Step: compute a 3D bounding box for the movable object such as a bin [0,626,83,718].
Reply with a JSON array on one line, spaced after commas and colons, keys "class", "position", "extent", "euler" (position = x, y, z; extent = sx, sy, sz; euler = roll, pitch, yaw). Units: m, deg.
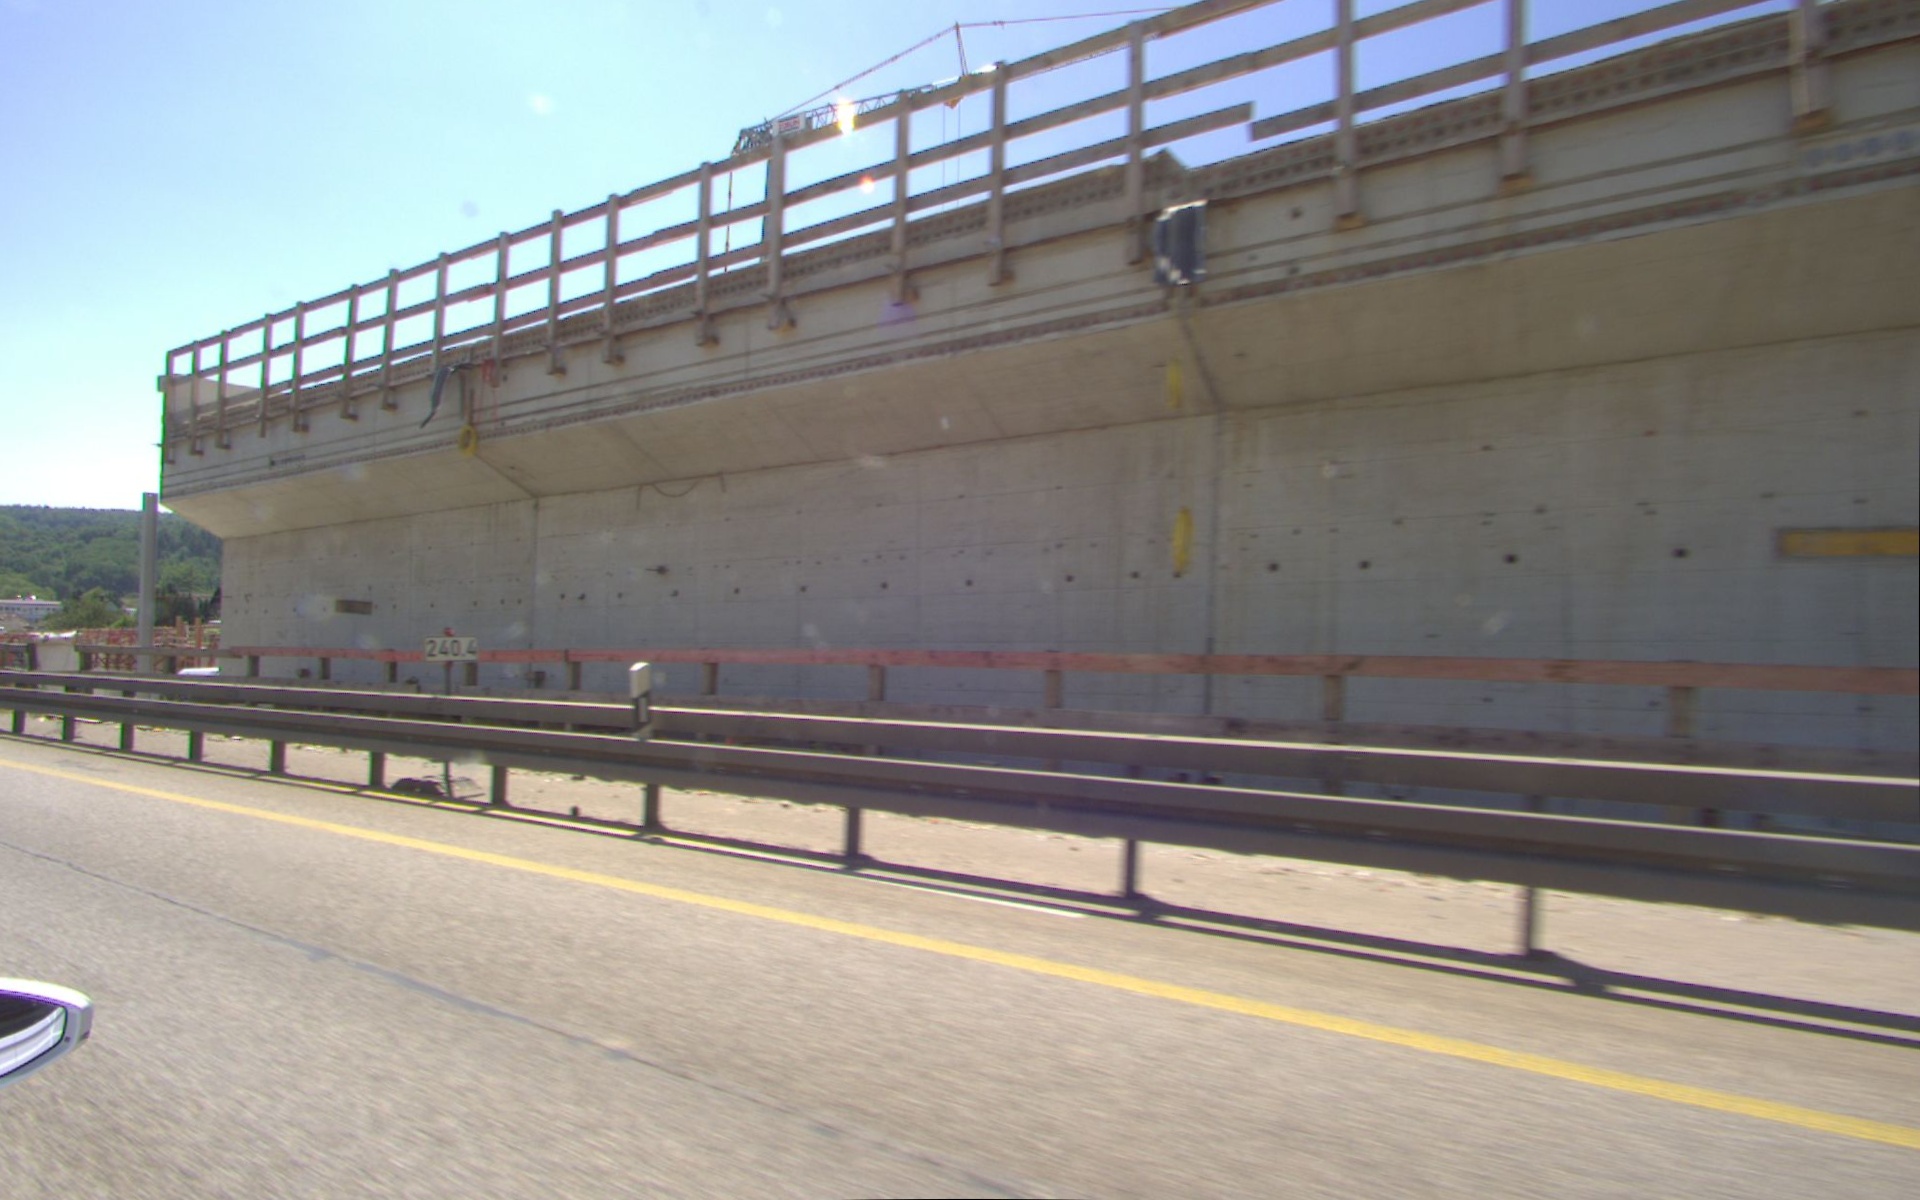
[{"class": "movable object such as a bin", "position": [-53.197, 3.981, 56.277], "extent": [9.517, 4.803, 3.222], "euler": [-2, -2, 32]}]

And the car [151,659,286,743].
[{"class": "car", "position": [-28.205, 3.709, 37.991], "extent": [6.931, 2.892, 2.139], "euler": [-2, -2, 36]}]
